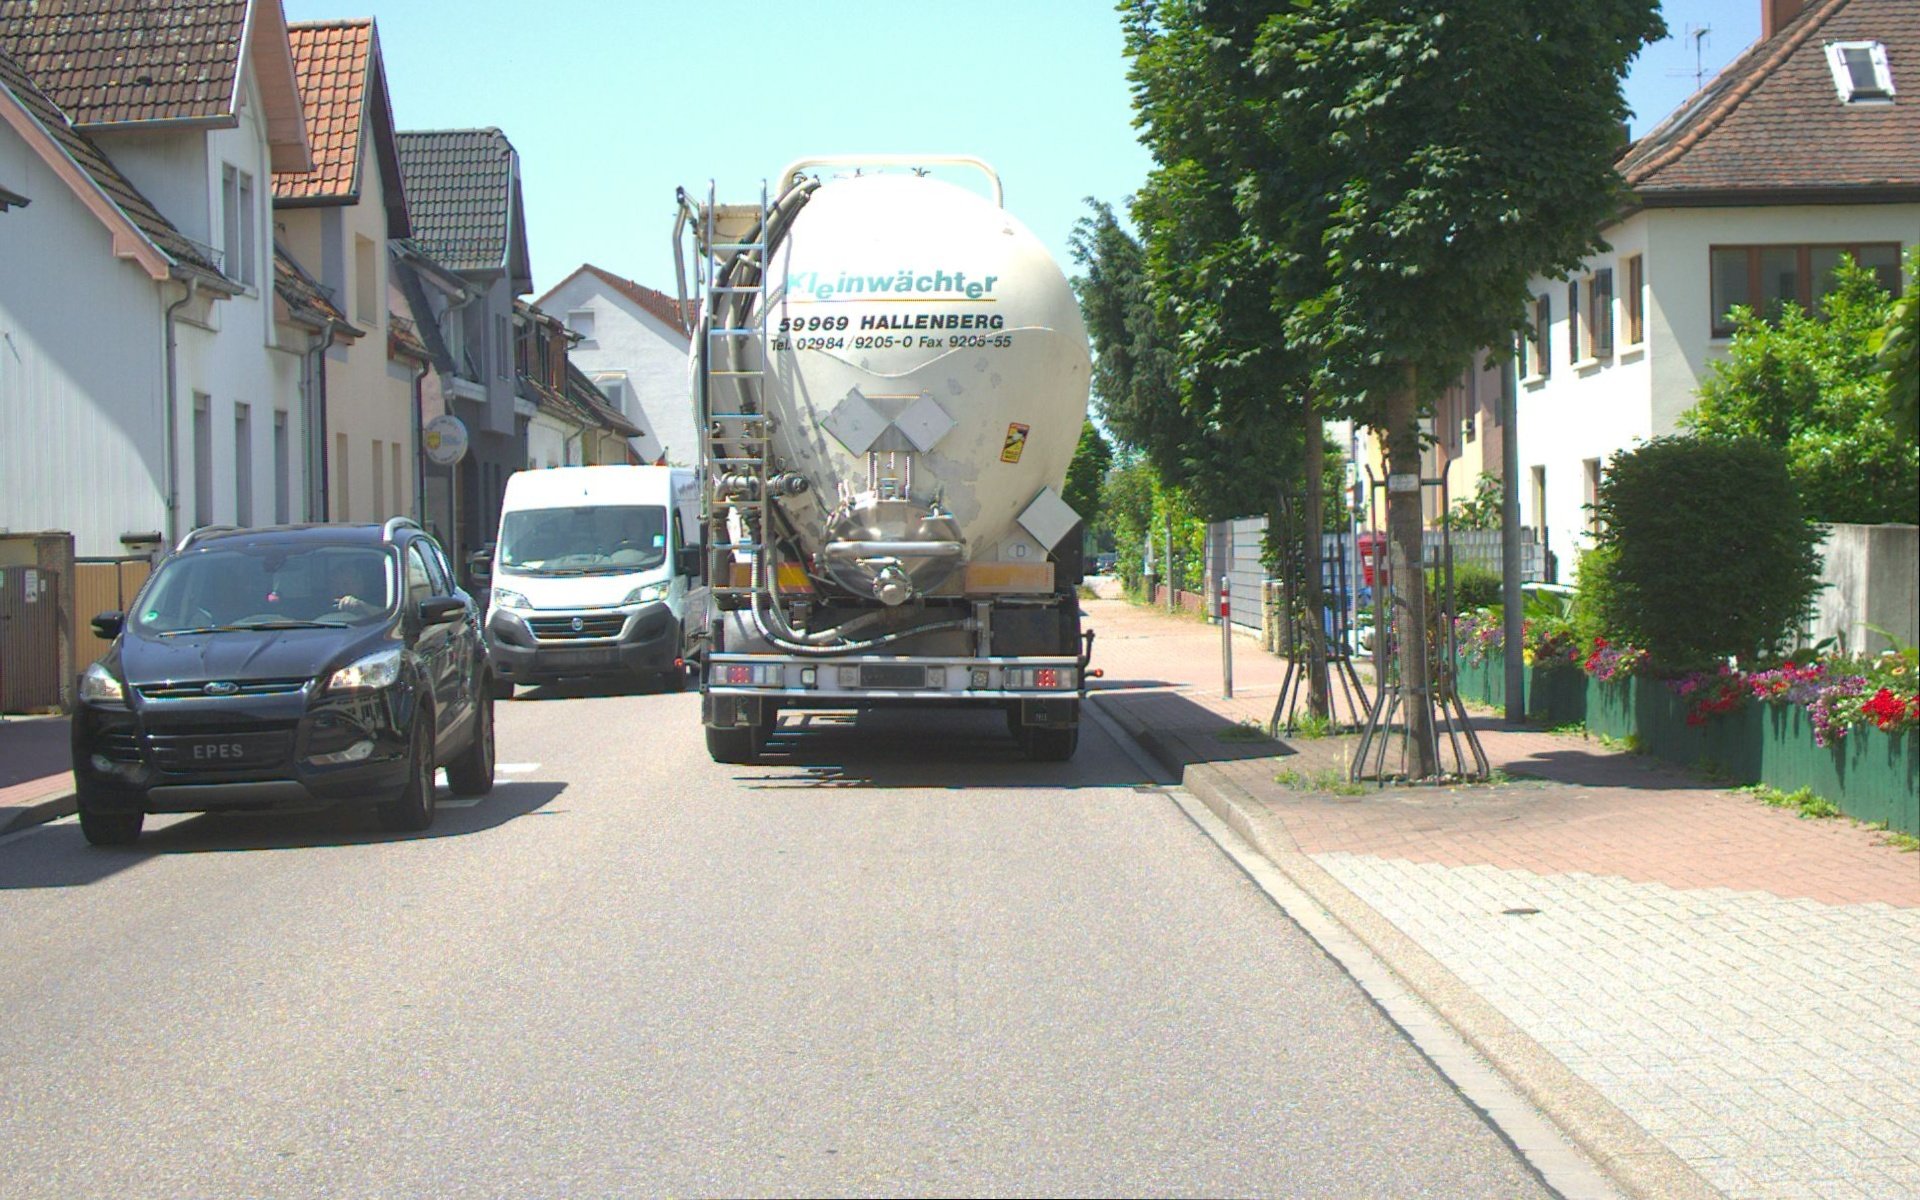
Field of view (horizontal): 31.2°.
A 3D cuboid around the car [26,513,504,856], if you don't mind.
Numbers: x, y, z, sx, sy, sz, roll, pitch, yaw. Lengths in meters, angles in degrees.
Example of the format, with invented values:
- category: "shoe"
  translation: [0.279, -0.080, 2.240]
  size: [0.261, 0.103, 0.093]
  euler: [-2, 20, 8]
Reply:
- category: "car"
  translation: [-3.780, 0.388, 19.449]
  size: [1.839, 1.664, 4.324]
  euler: [-2, 1, -1]

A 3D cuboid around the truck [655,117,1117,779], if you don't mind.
- category: "truck"
  translation: [-0.530, -0.936, 24.714]
  size: [2.732, 3.946, 8.142]
  euler: [1, 0, -1]

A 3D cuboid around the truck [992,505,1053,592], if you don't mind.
- category: "truck"
  translation: [2.393, -1.945, 129.326]
  size: [1.994, 3.126, 9.447]
  euler: [1, 1, 2]

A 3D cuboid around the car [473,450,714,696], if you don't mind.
- category: "car"
  translation: [-3.968, -0.320, 38.210]
  size: [2.069, 2.446, 6.008]
  euler: [-2, 1, -1]

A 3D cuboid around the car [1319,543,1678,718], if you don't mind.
- category: "car"
  translation: [6.933, 0.376, 44.583]
  size: [4.170, 1.581, 1.907]
  euler: [9, 1, 0]
